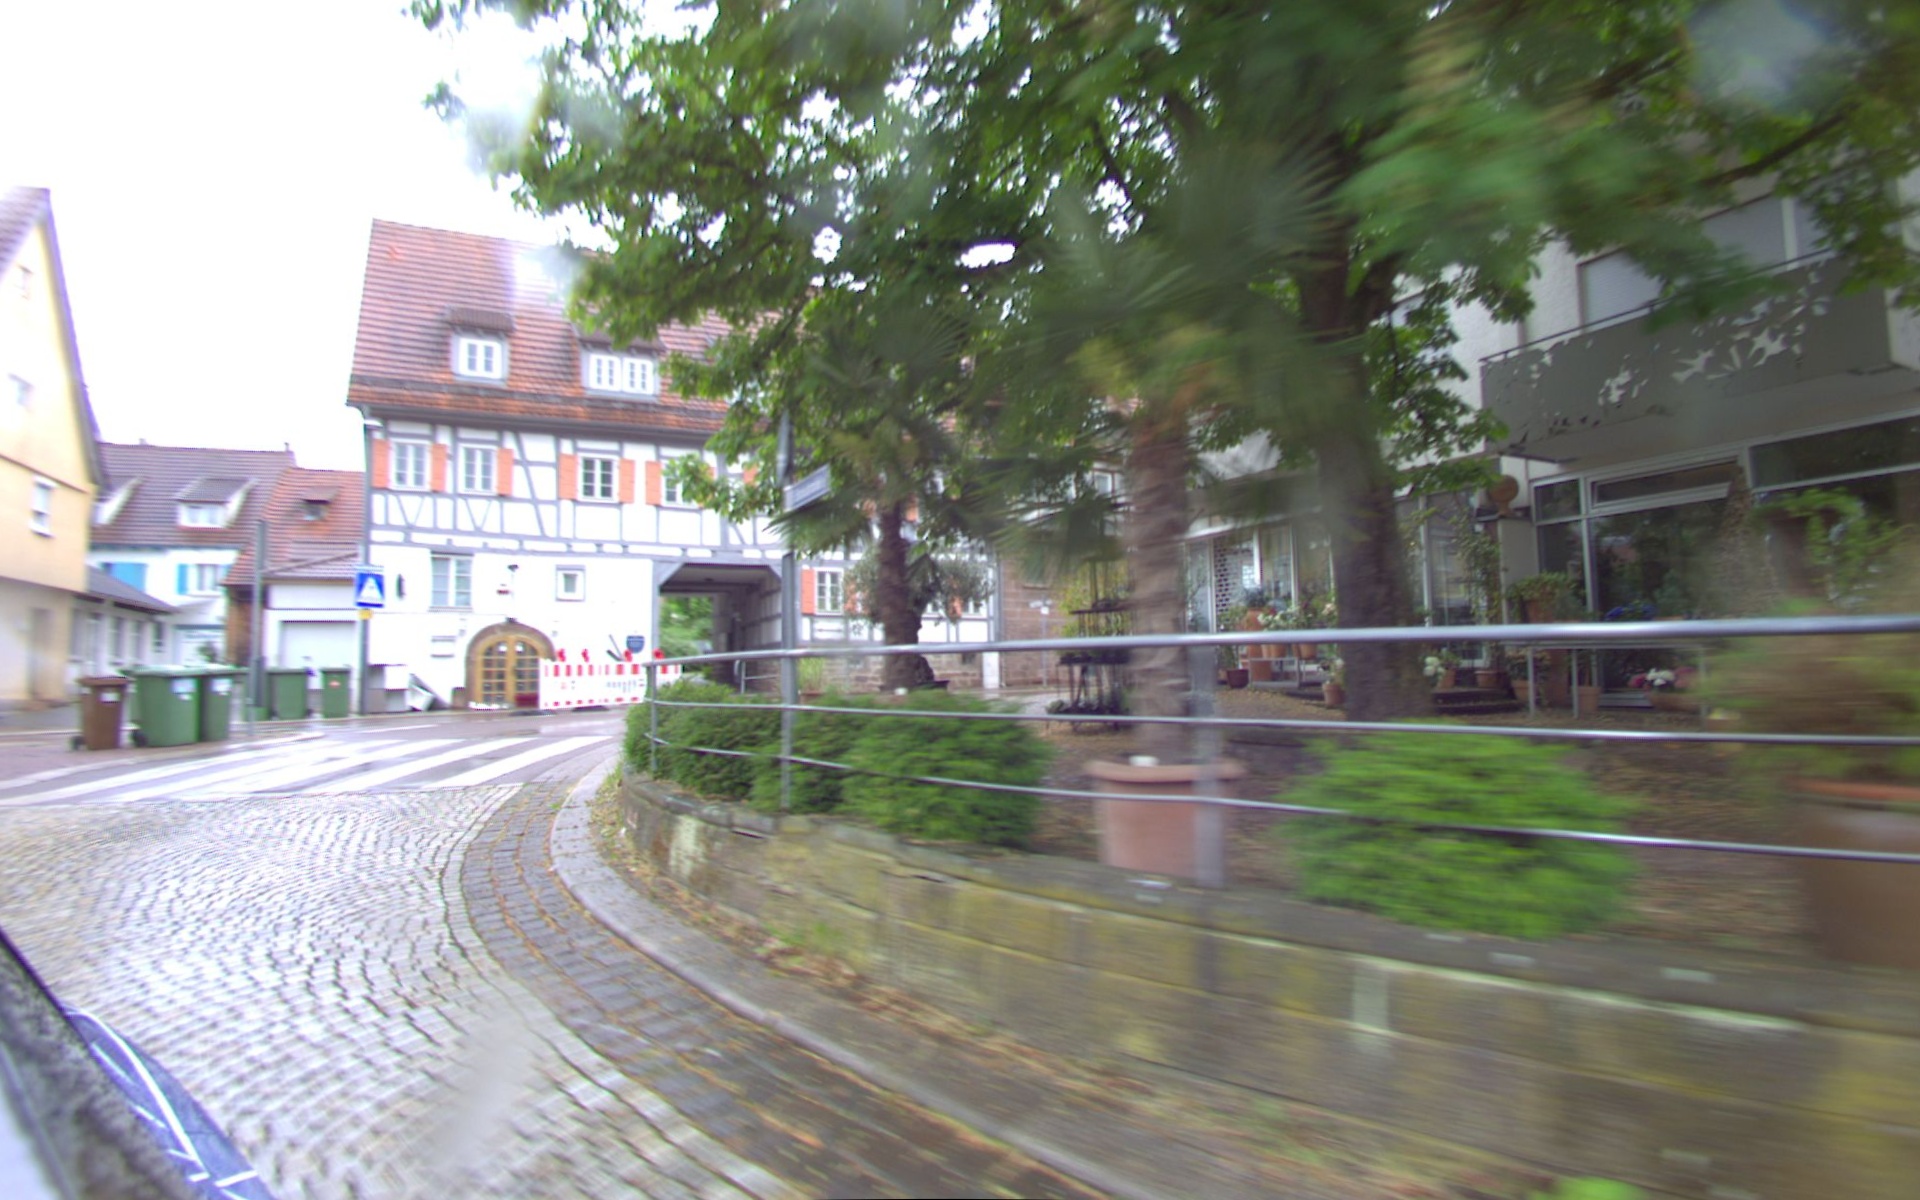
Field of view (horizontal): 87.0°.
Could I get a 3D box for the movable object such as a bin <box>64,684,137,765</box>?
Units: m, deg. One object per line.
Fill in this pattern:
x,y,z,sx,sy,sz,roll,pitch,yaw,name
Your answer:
-11.280,1.627,13.286,0.562,1.012,0.509,-3,-3,13,movable object such as a bin

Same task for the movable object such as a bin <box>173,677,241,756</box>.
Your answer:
-10.599,1.625,14.258,0.528,1.040,0.544,-3,-3,4,movable object such as a bin

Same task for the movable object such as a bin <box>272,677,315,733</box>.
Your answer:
-13.489,2.112,20.483,0.531,1.074,0.619,-2,-3,-12,movable object such as a bin

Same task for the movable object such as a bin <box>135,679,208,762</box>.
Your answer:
-10.641,1.615,13.668,0.565,1.045,0.541,-3,-3,4,movable object such as a bin

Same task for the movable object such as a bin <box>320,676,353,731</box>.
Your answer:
-12.852,2.118,20.868,0.531,1.074,0.682,-1,-3,-35,movable object such as a bin

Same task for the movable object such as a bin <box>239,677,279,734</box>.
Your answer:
-14.102,2.114,20.365,0.576,1.074,0.683,-1,-3,-29,movable object such as a bin

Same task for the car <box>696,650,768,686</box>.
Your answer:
-10.151,3.016,44.991,2.935,1.462,1.416,-1,-5,-19,car
